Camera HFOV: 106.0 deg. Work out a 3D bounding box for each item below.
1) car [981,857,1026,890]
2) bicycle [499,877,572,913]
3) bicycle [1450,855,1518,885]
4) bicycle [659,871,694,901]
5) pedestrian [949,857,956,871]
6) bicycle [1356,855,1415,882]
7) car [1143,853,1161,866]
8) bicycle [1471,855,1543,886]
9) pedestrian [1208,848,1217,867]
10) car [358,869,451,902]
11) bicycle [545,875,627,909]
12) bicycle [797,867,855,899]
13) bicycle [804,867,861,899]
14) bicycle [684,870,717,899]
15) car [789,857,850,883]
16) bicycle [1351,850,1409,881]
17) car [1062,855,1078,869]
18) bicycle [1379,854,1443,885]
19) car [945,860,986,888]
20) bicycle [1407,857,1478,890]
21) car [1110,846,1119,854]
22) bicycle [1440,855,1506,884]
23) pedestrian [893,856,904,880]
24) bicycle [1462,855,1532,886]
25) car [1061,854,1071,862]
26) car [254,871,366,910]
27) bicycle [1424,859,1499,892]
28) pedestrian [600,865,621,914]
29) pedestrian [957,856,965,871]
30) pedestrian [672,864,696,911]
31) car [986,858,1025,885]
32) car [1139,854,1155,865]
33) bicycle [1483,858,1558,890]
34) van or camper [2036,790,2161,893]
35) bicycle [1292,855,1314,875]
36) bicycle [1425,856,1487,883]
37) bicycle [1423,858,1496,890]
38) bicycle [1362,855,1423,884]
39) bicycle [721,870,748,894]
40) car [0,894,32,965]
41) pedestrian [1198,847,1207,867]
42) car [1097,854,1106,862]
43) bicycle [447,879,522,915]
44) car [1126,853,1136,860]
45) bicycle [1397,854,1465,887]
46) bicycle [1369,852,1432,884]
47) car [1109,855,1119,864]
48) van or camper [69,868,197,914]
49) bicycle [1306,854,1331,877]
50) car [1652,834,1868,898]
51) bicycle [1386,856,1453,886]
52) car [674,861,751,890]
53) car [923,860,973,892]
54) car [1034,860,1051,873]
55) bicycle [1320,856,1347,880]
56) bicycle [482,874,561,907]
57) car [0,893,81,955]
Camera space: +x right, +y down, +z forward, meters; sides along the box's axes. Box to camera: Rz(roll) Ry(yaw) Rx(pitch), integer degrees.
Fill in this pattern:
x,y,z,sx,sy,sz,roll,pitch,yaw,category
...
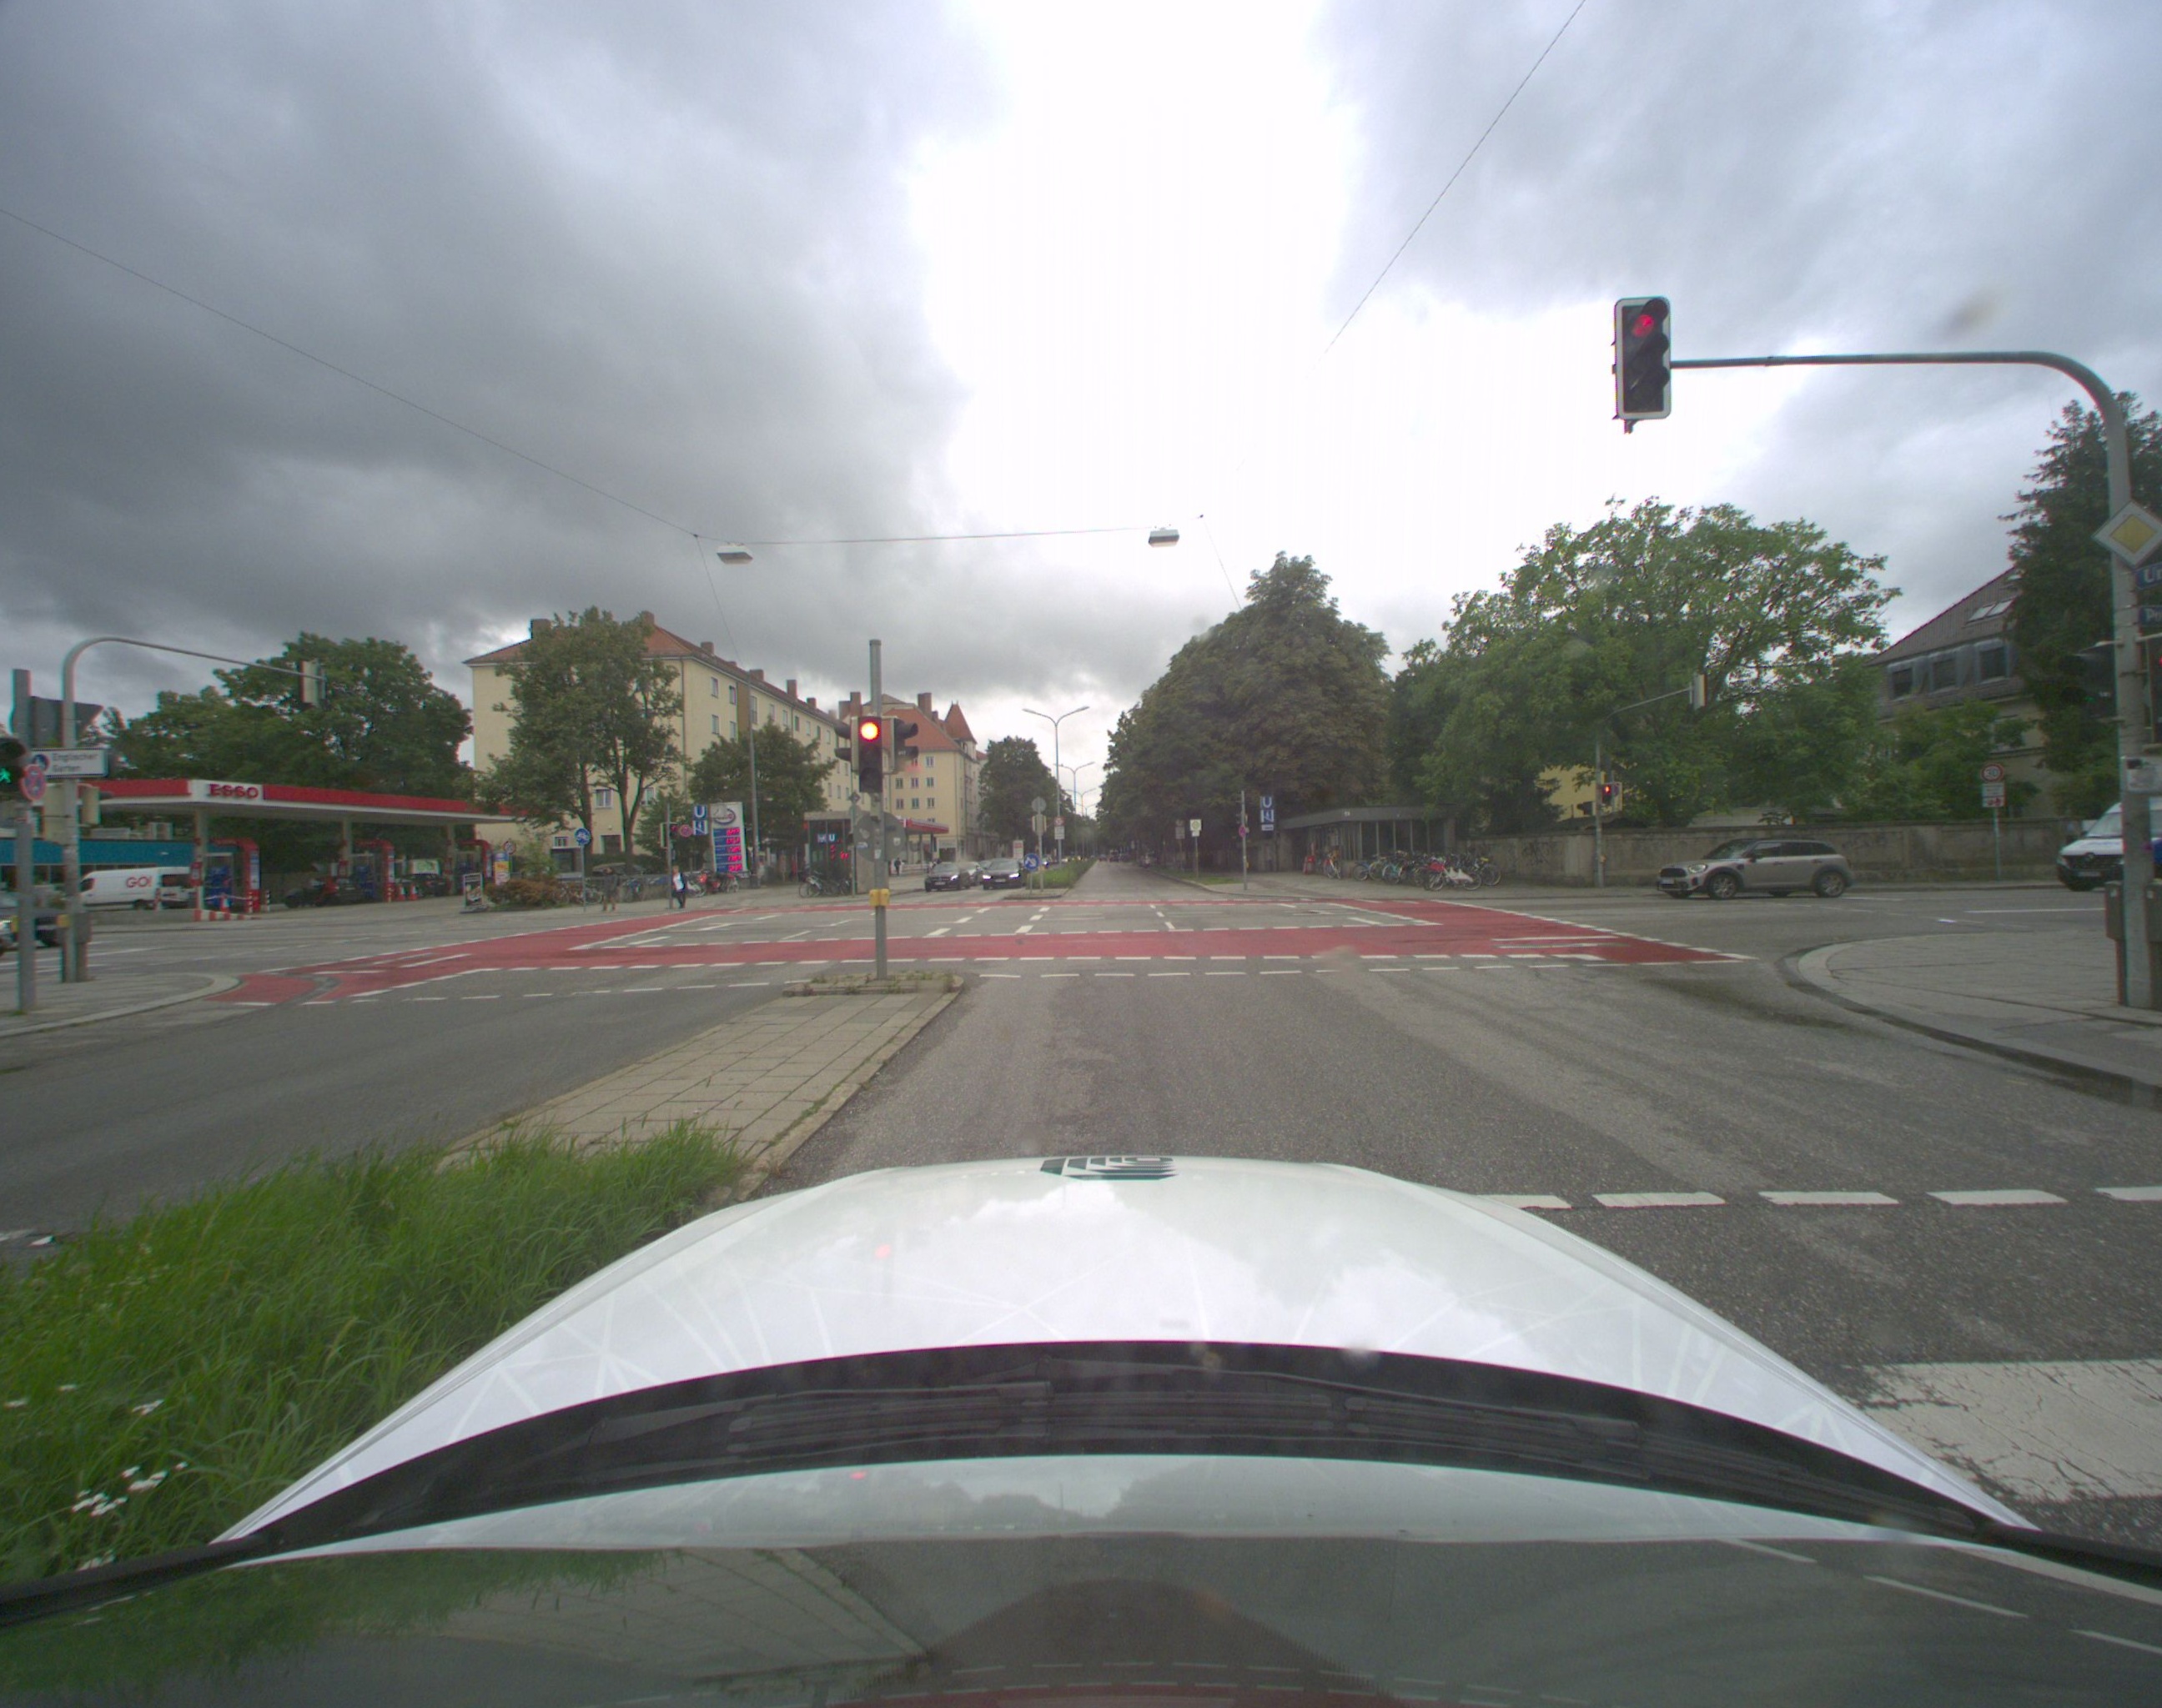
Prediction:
x,y,z,sx,sy,sz,roll,pitch,yaw,category
-3.825,0.946,40.790,1.753,1.493,4.001,-2,0,1,car
-20.902,1.559,31.251,2.180,1.236,0.763,-2,0,-10,bicycle
14.855,0.592,30.056,2.130,1.014,0.636,-2,0,9,bicycle
-17.869,1.379,36.026,0.607,1.236,2.183,-2,0,-5,bicycle
-16.175,1.269,102.293,0.693,1.638,0.738,-2,0,1,pedestrian
12.209,0.567,32.673,2.130,1.014,0.604,-2,0,9,bicycle
7.778,0.579,89.609,1.737,1.363,3.807,-2,0,1,car
14.886,0.581,28.493,2.130,1.014,0.636,-2,0,9,bicycle
11.512,0.285,71.298,0.674,1.682,0.684,-2,0,7,pedestrian
-40.394,1.846,48.677,3.973,1.784,1.858,-2,0,1,car
-19.595,1.486,32.308,2.720,1.251,0.786,0,-1,-29,bicycle
-11.030,1.260,35.235,2.262,1.304,0.704,-2,0,2,bicycle
-10.983,1.274,36.014,2.276,1.304,0.694,-2,0,2,bicycle
-17.189,1.362,36.842,0.607,1.236,2.183,-2,0,-5,bicycle
-20.022,1.220,62.430,3.976,1.838,1.879,-2,0,-2,car
12.227,0.459,33.393,2.130,1.218,0.604,-2,0,9,bicycle
-1.118,0.822,85.477,1.463,1.399,3.701,-2,0,1,car
12.276,0.573,30.350,2.130,1.086,0.604,-2,0,9,bicycle
-6.856,1.163,48.609,1.753,1.460,4.001,-2,0,1,car
12.525,0.658,28.244,2.130,1.071,0.604,-2,0,9,bicycle
7.778,-1.025,190.856,1.986,1.756,4.001,-2,0,1,car
14.824,0.597,30.842,2.130,1.014,0.636,-2,0,9,bicycle
-15.887,1.209,71.039,0.727,2.014,0.835,0,-1,1,pedestrian
14.914,0.588,29.260,2.130,1.014,0.636,-2,0,9,bicycle
-2.827,0.809,157.916,1.753,1.460,4.001,-2,0,1,car
-39.676,1.871,41.970,3.973,1.784,1.858,-2,0,1,car
12.508,0.690,26.814,2.130,1.014,0.604,-2,0,9,bicycle
-16.539,1.235,28.629,0.593,1.695,0.571,-2,0,-29,pedestrian
-13.520,1.040,91.671,0.693,1.638,0.738,-2,0,1,pedestrian
-14.540,1.210,29.811,0.532,1.695,0.577,-2,0,0,pedestrian
-4.436,1.007,48.383,1.753,1.493,4.001,-2,0,1,car
8.105,0.665,99.857,1.737,1.363,3.807,-2,0,1,car
14.918,0.675,27.694,2.130,1.014,0.636,-2,0,9,bicycle
28.244,-0.387,20.586,5.529,2.469,2.069,-2,0,3,van or camper
11.485,0.560,42.098,0.555,1.014,2.015,-2,0,0,bicycle
14.927,0.613,32.422,2.130,1.014,0.636,-2,0,9,bicycle
12.724,0.675,27.434,2.130,1.014,0.636,-2,0,9,bicycle
12.156,0.594,31.792,2.130,1.062,0.604,-2,0,9,bicycle
-17.413,1.407,40.994,0.607,1.145,1.962,-2,0,-5,bicycle
-25.217,1.699,17.288,3.609,1.517,1.663,-2,0,-2,car
10.631,0.262,71.253,0.674,1.682,0.684,-2,0,7,pedestrian
4.448,0.779,175.749,1.850,1.684,4.001,-2,0,1,car
-22.836,1.631,31.199,2.179,1.236,0.764,-2,0,-8,bicycle
9.816,0.491,159.363,1.737,1.427,3.900,-2,0,1,car
12.405,0.585,28.902,2.130,1.101,0.604,-2,0,9,bicycle
12.165,0.531,31.090,2.130,1.178,0.604,-2,0,9,bicycle
6.393,1.022,158.281,1.916,1.684,4.001,-2,0,1,car
-51.863,2.004,44.635,4.526,2.323,1.917,-2,0,-3,van or camper
11.253,0.527,38.662,0.555,1.014,2.015,-2,0,0,bicycle
17.689,0.305,21.372,4.149,1.514,1.697,-2,0,4,car
12.296,0.605,29.619,2.130,1.014,0.604,-2,0,9,bicycle
-22.608,1.297,50.079,3.955,1.608,1.810,-2,0,-11,car
-6.739,1.102,41.693,1.753,1.460,4.001,-2,0,1,car
-4.924,1.598,104.487,1.753,1.493,4.001,-2,0,1,car
11.124,0.617,35.930,0.555,1.014,2.015,-2,0,0,bicycle
-21.890,1.400,31.910,2.394,1.251,0.789,0,-1,-10,bicycle
-27.602,1.767,20.241,3.532,1.412,1.666,-2,0,3,car
